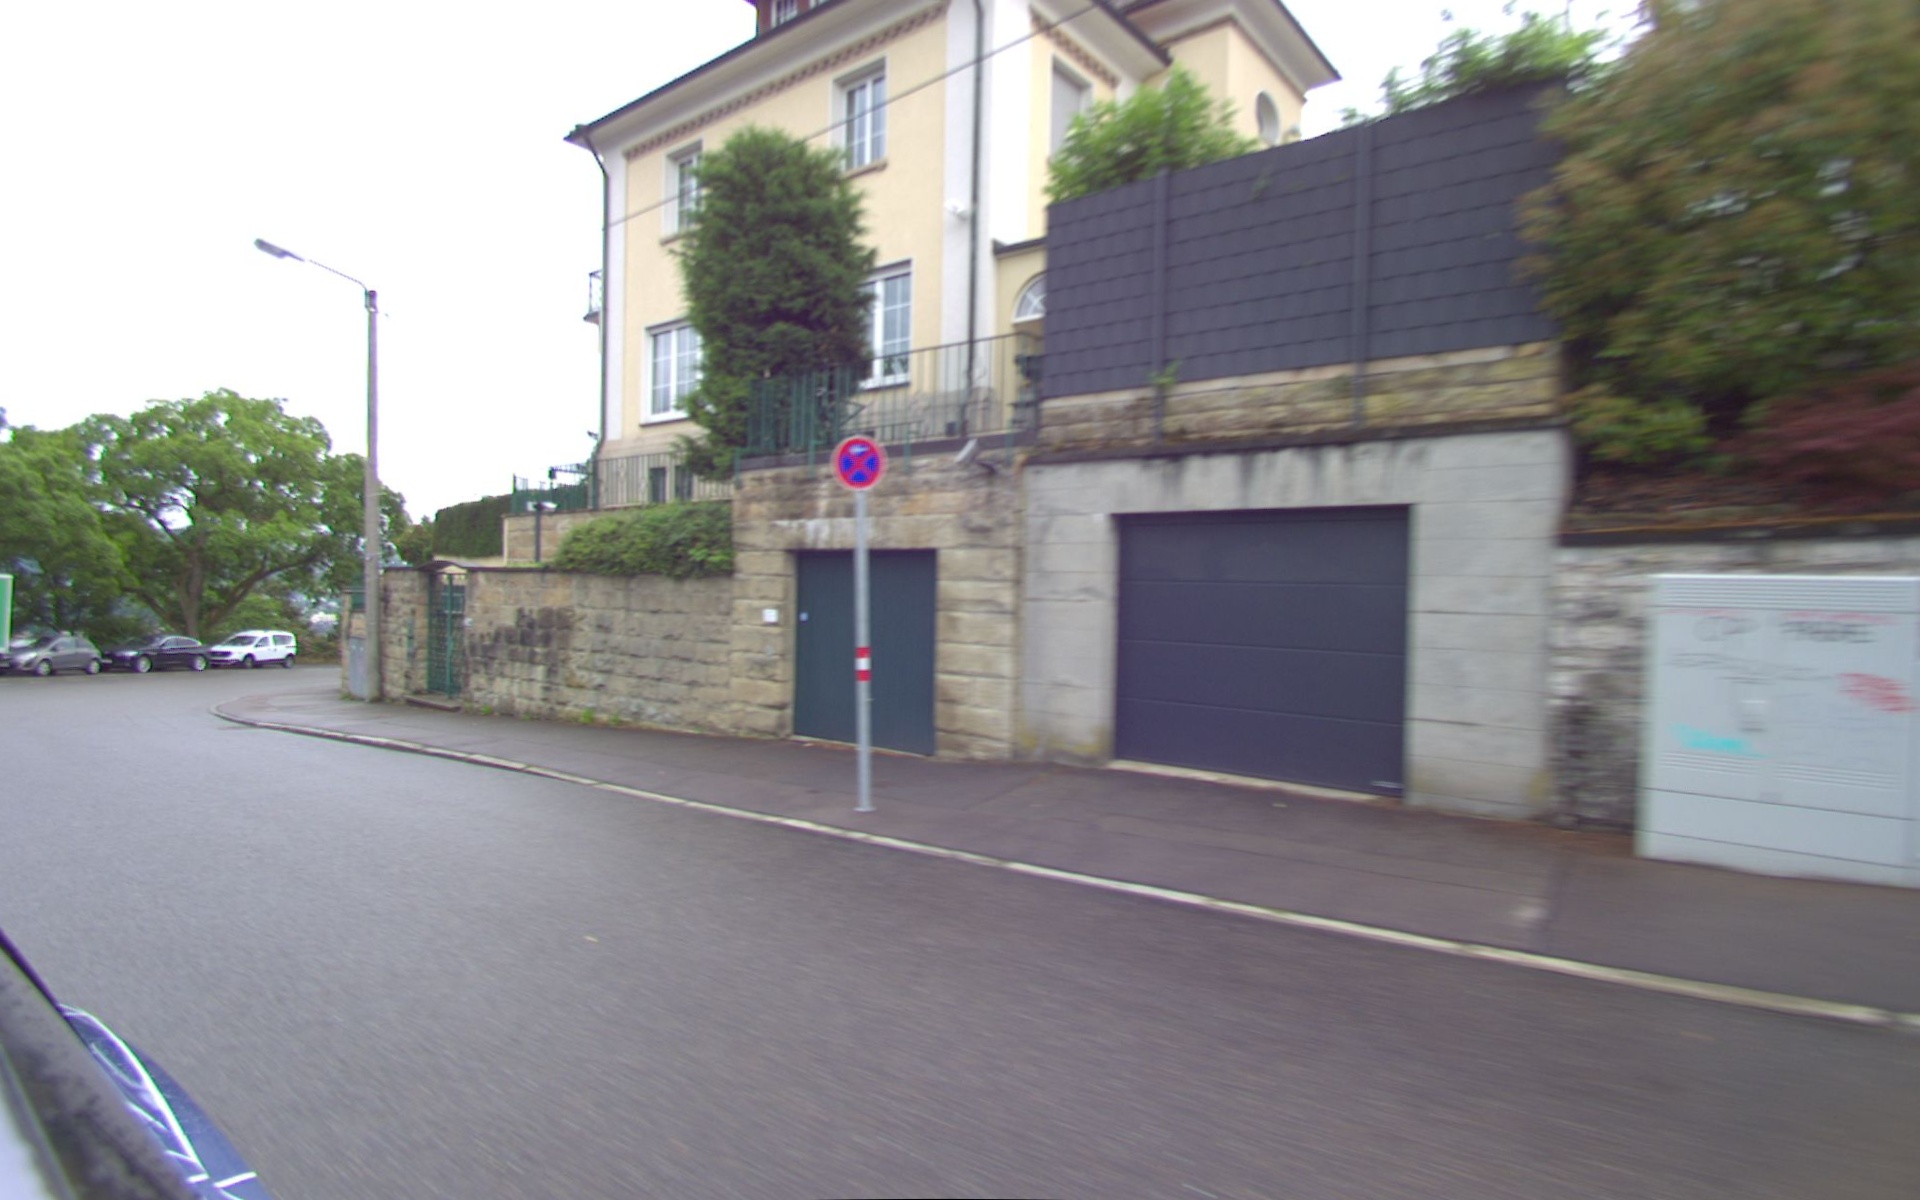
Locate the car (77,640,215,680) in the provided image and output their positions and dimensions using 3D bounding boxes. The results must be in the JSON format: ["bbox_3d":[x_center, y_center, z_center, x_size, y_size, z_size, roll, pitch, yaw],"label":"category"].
[{"bbox_3d":[-34.153,2.496,42.666,1.840,1.554,4.894,1,-3,0],"label":"car"}]

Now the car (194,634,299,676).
[{"bbox_3d":[-33.915,2.614,48.279,1.728,1.835,4.421,2,-3,1],"label":"car"}]

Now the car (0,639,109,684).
[{"bbox_3d":[-33.624,2.229,37.048,1.712,1.515,4.141,2,-3,-7],"label":"car"}]

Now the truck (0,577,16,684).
[{"bbox_3d":[-31.684,0.784,29.219,2.735,3.497,8.960,3,-3,-18],"label":"truck"}]
